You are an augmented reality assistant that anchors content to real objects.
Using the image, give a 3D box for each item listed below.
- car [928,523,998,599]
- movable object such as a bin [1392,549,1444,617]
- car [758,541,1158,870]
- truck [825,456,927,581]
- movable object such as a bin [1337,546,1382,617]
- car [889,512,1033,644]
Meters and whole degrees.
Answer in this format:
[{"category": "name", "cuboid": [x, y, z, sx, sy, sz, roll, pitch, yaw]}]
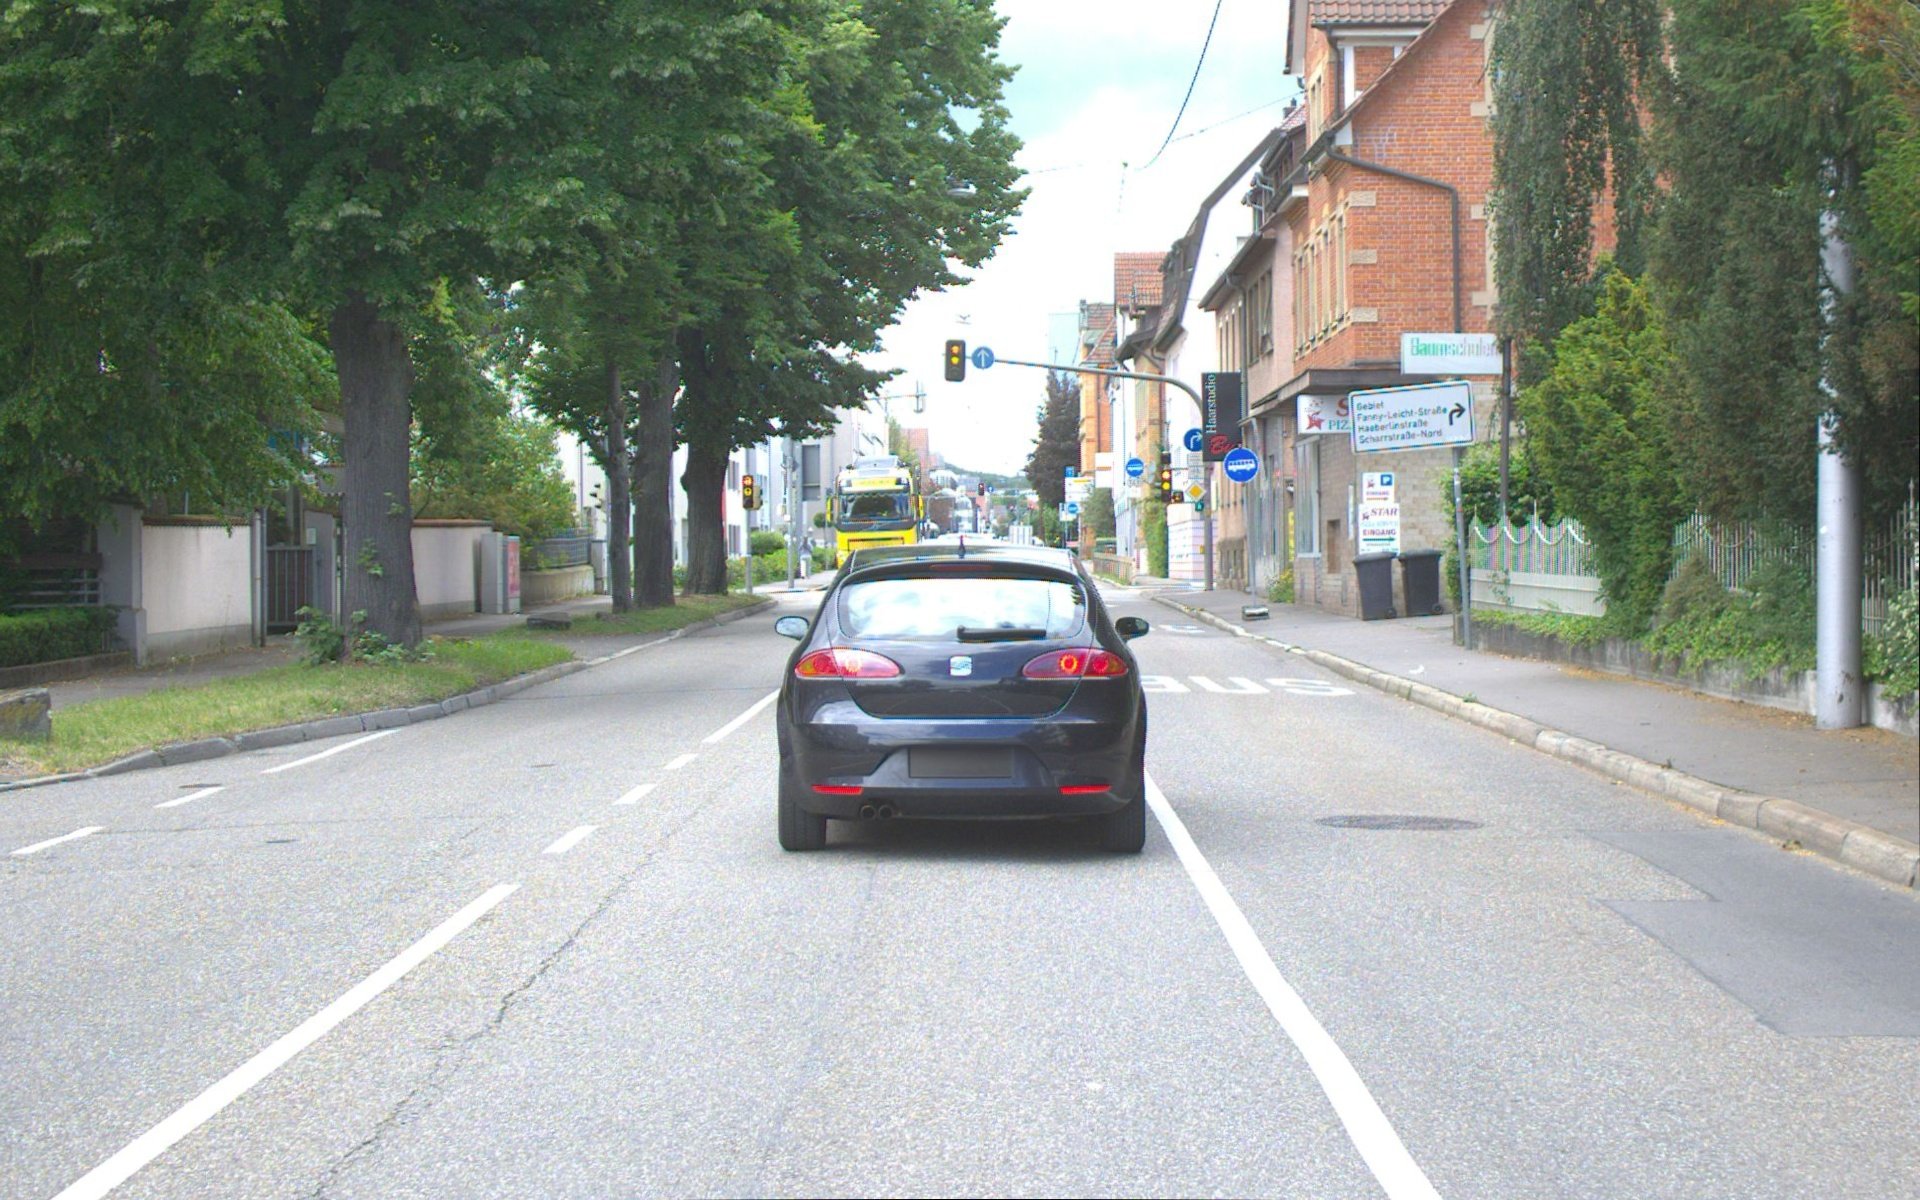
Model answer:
[{"category": "car", "cuboid": [0.073, -0.888, 78.413, 1.531, 1.687, 3.693, 1, 1, 0]}, {"category": "movable object such as a bin", "cuboid": [7.253, -0.273, 54.457, 0.698, 1.055, 0.723, -2, 0, 1]}, {"category": "car", "cuboid": [0.009, 0.447, 17.269, 1.759, 1.437, 4.000, 1, 1, 1]}, {"category": "truck", "cuboid": [-2.595, -2.521, 108.716, 2.844, 3.769, 7.669, 1, 1, 1]}, {"category": "movable object such as a bin", "cuboid": [6.337, -0.301, 54.544, 0.606, 1.097, 0.622, -2, 0, 1]}, {"category": "car", "cuboid": [0.023, -0.303, 46.488, 1.842, 1.687, 4.000, 1, 1, 0]}]
